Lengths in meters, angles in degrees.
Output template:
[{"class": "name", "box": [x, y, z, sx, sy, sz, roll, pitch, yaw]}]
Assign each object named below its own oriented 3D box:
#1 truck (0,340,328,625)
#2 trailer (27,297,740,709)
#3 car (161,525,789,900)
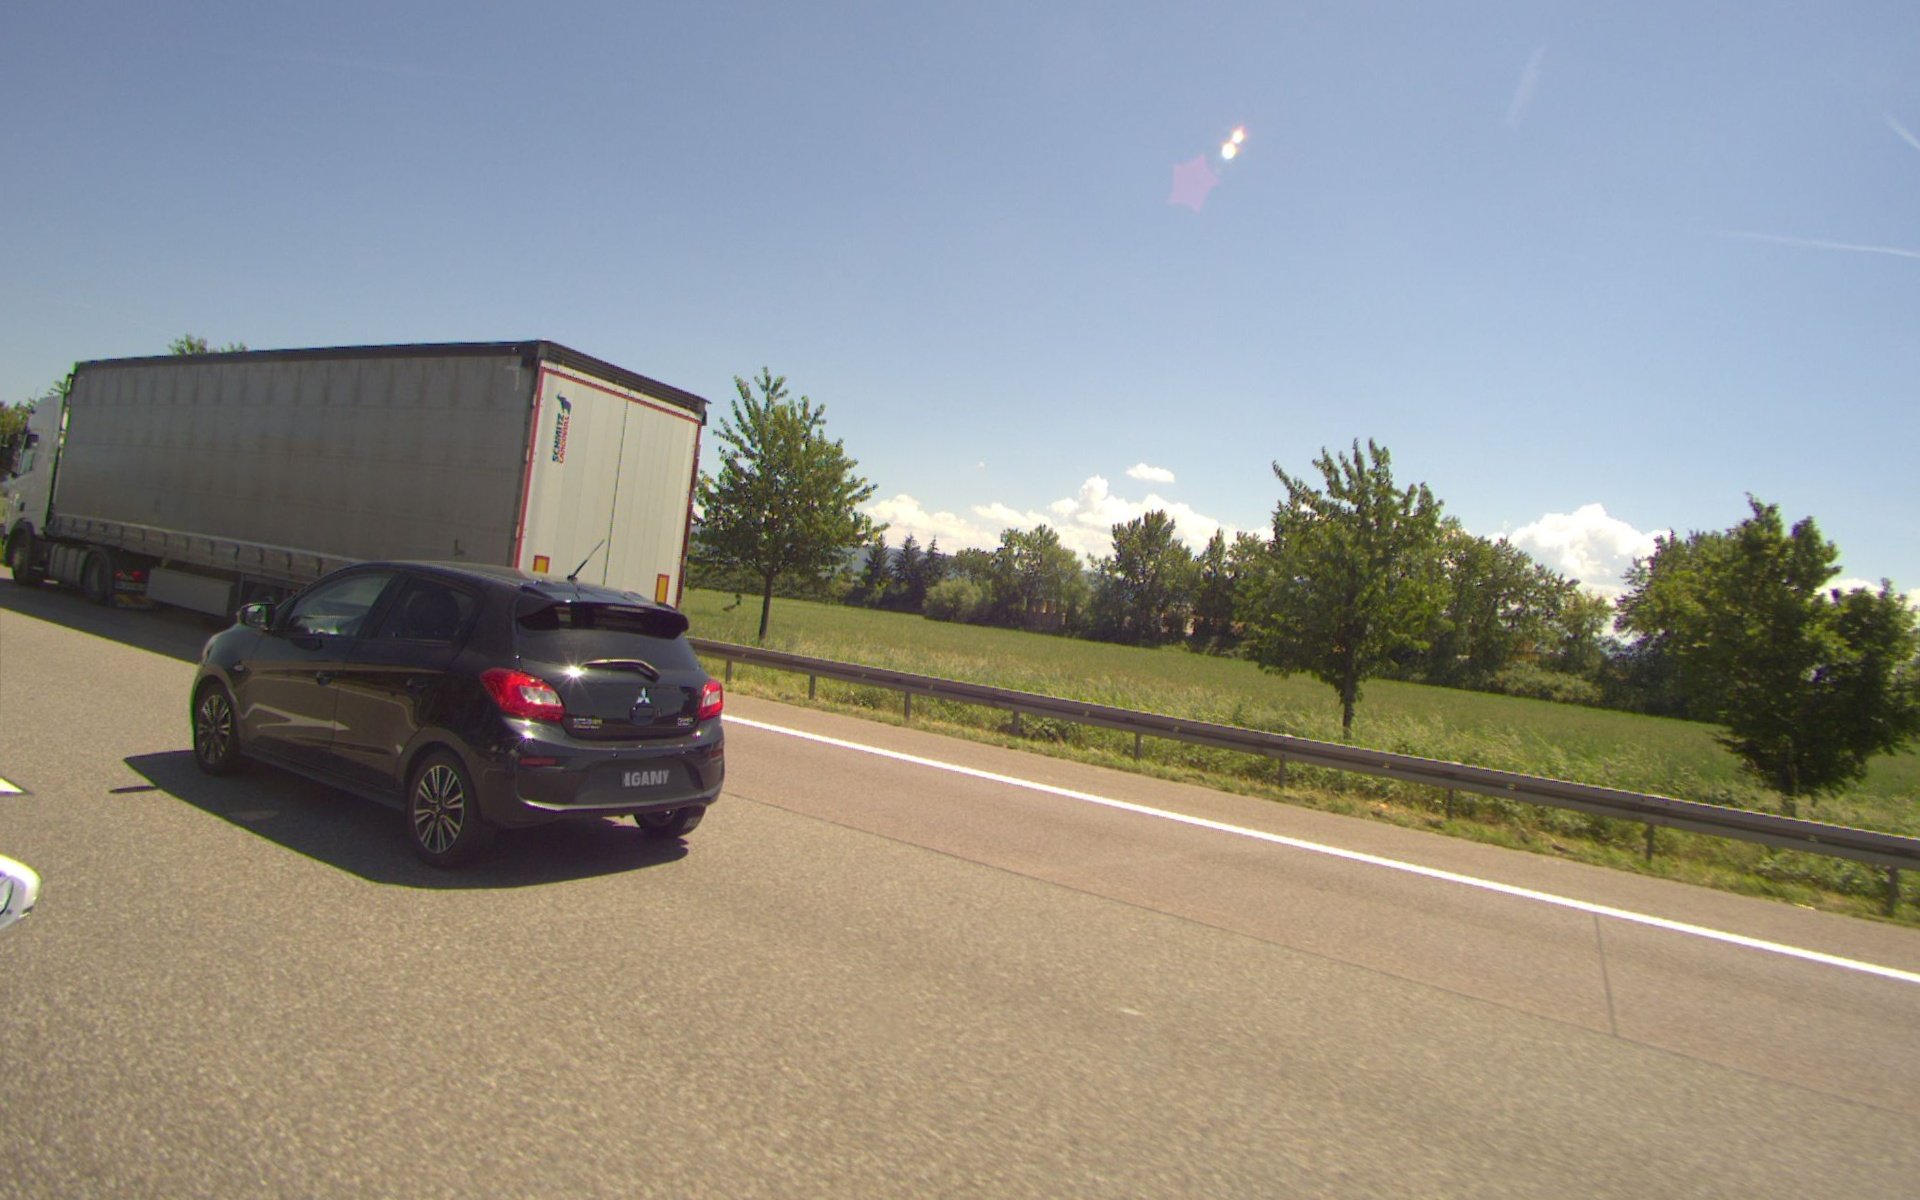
[{"class": "truck", "box": [-15.598, -2.180, 19.168, 7.075, 4.354, 2.815, 6, -2, 32]}, {"class": "trailer", "box": [-9.766, -1.545, 15.521, 14.018, 4.354, 2.815, 6, -2, 32]}, {"class": "car", "box": [-2.964, 0.520, 6.071, 3.375, 1.490, 1.691, 6, -2, 31]}]
